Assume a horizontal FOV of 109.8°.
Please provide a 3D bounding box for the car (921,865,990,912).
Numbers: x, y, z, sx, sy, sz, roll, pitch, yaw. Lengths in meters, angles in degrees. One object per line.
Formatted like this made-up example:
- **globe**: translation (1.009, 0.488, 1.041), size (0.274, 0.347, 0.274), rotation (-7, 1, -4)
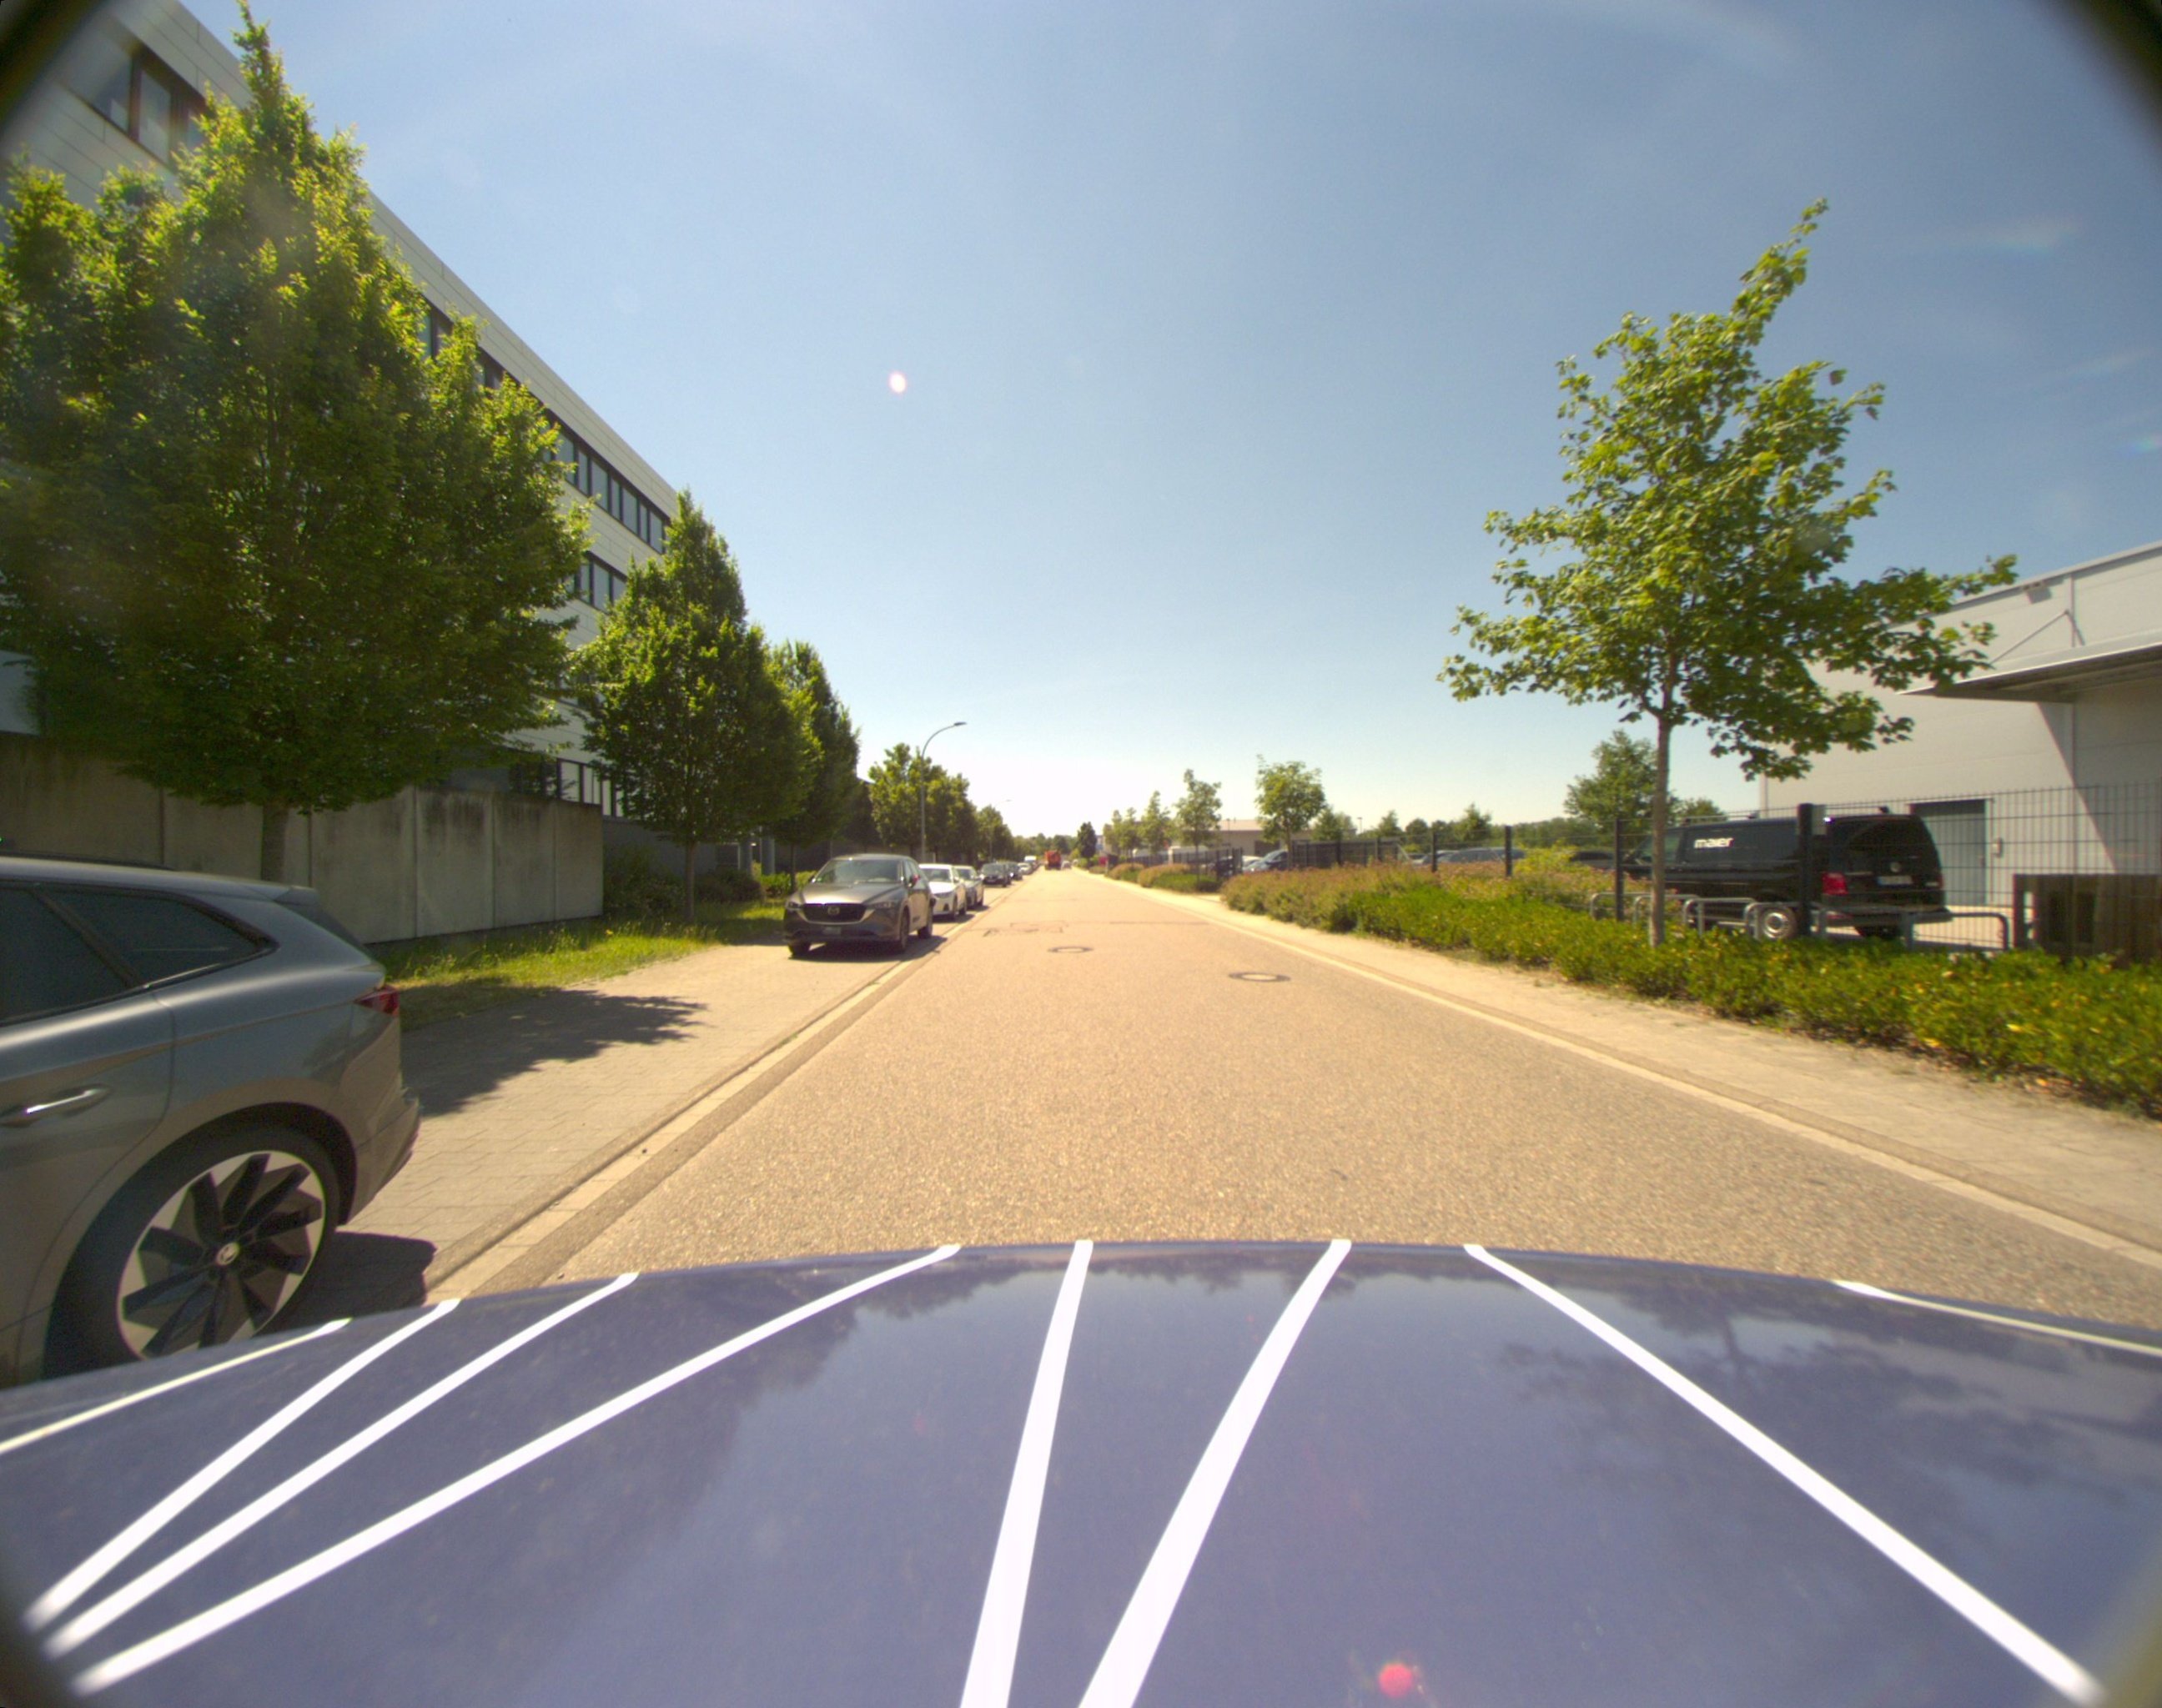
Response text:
- **car**: translation (-4.137, 1.098, 25.582), size (1.720, 1.415, 3.950), rotation (2, 0, -2)

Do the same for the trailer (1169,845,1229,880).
- **trailer**: translation (8.585, 0.580, 55.515), size (3.999, 2.346, 1.726), rotation (-2, 0, -5)

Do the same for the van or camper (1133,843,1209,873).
- **van or camper**: translation (8.454, 0.383, 71.723), size (6.794, 2.668, 2.575), rotation (-1, 0, -2)

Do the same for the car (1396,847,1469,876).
- **car**: translation (20.228, 0.445, 43.767), size (3.481, 1.575, 1.477), rotation (-1, 0, -3)

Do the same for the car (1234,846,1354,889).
- **car**: translation (9.976, 0.629, 35.872), size (5.073, 1.840, 1.964), rotation (-1, 0, -3)

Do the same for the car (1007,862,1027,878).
- **car**: translation (-6.079, 1.503, 72.718), size (1.712, 1.449, 4.188), rotation (1, 0, -3)

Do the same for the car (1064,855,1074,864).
- **car**: translation (-2.322, 1.094, 149.164), size (1.999, 1.674, 3.999), rotation (0, 0, -2)

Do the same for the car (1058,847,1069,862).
- **car**: translation (-3.940, 0.155, 170.889), size (2.601, 3.212, 6.221), rotation (0, 0, -2)

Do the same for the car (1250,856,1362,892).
- **car**: translation (9.829, 0.844, 33.384), size (4.317, 1.438, 1.964), rotation (-1, 0, -3)

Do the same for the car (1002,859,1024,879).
- **car**: translation (-5.900, 1.289, 66.356), size (1.742, 1.660, 4.367), rotation (1, 0, -3)

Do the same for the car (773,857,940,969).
- **car**: translation (-3.743, 0.900, 13.492), size (1.762, 1.653, 4.362), rotation (1, 0, -2)

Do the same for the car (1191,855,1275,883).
- **car**: translation (9.322, 0.902, 46.823), size (4.745, 1.619, 2.000), rotation (-1, 0, -2)

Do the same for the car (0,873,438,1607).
- **car**: translation (-3.352, 0.904, 0.657), size (1.809, 1.652, 4.607), rotation (2, 0, -3)

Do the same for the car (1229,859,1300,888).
- **car**: translation (9.999, 1.059, 41.621), size (3.380, 1.489, 1.904), rotation (-1, 0, -3)

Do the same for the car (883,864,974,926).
- **car**: translation (-4.048, 1.045, 20.743), size (1.720, 1.472, 4.030), rotation (2, 0, -2)

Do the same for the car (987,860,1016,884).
- **car**: translation (-5.676, 1.248, 54.666), size (1.812, 1.608, 4.713), rotation (1, 0, -3)

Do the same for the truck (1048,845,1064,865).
- **truck**: translation (-4.596, 0.154, 139.143), size (2.606, 3.524, 10.498), rotation (0, 0, -3)

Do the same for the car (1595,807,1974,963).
- **car**: translation (11.370, 0.433, 12.904), size (2.006, 2.086, 4.693), rotation (-2, 0, 0)

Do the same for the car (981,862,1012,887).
- **car**: translation (-5.315, 1.253, 48.131), size (1.696, 1.467, 4.268), rotation (1, 0, -3)

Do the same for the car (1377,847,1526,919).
- **car**: translation (9.794, 0.706, 20.493), size (1.999, 1.713, 4.091), rotation (-1, 0, 0)

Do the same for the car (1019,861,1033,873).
- **car**: translation (-7.086, 1.644, 98.427), size (1.737, 1.501, 3.665), rotation (1, 0, -3)

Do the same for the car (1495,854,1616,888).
- **car**: translation (20.665, 0.708, 33.196), size (4.118, 1.342, 1.880), rotation (-1, 0, -3)

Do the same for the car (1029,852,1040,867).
- **car**: translation (-8.491, 1.073, 139.599), size (2.060, 2.682, 4.834), rotation (0, 0, -3)
